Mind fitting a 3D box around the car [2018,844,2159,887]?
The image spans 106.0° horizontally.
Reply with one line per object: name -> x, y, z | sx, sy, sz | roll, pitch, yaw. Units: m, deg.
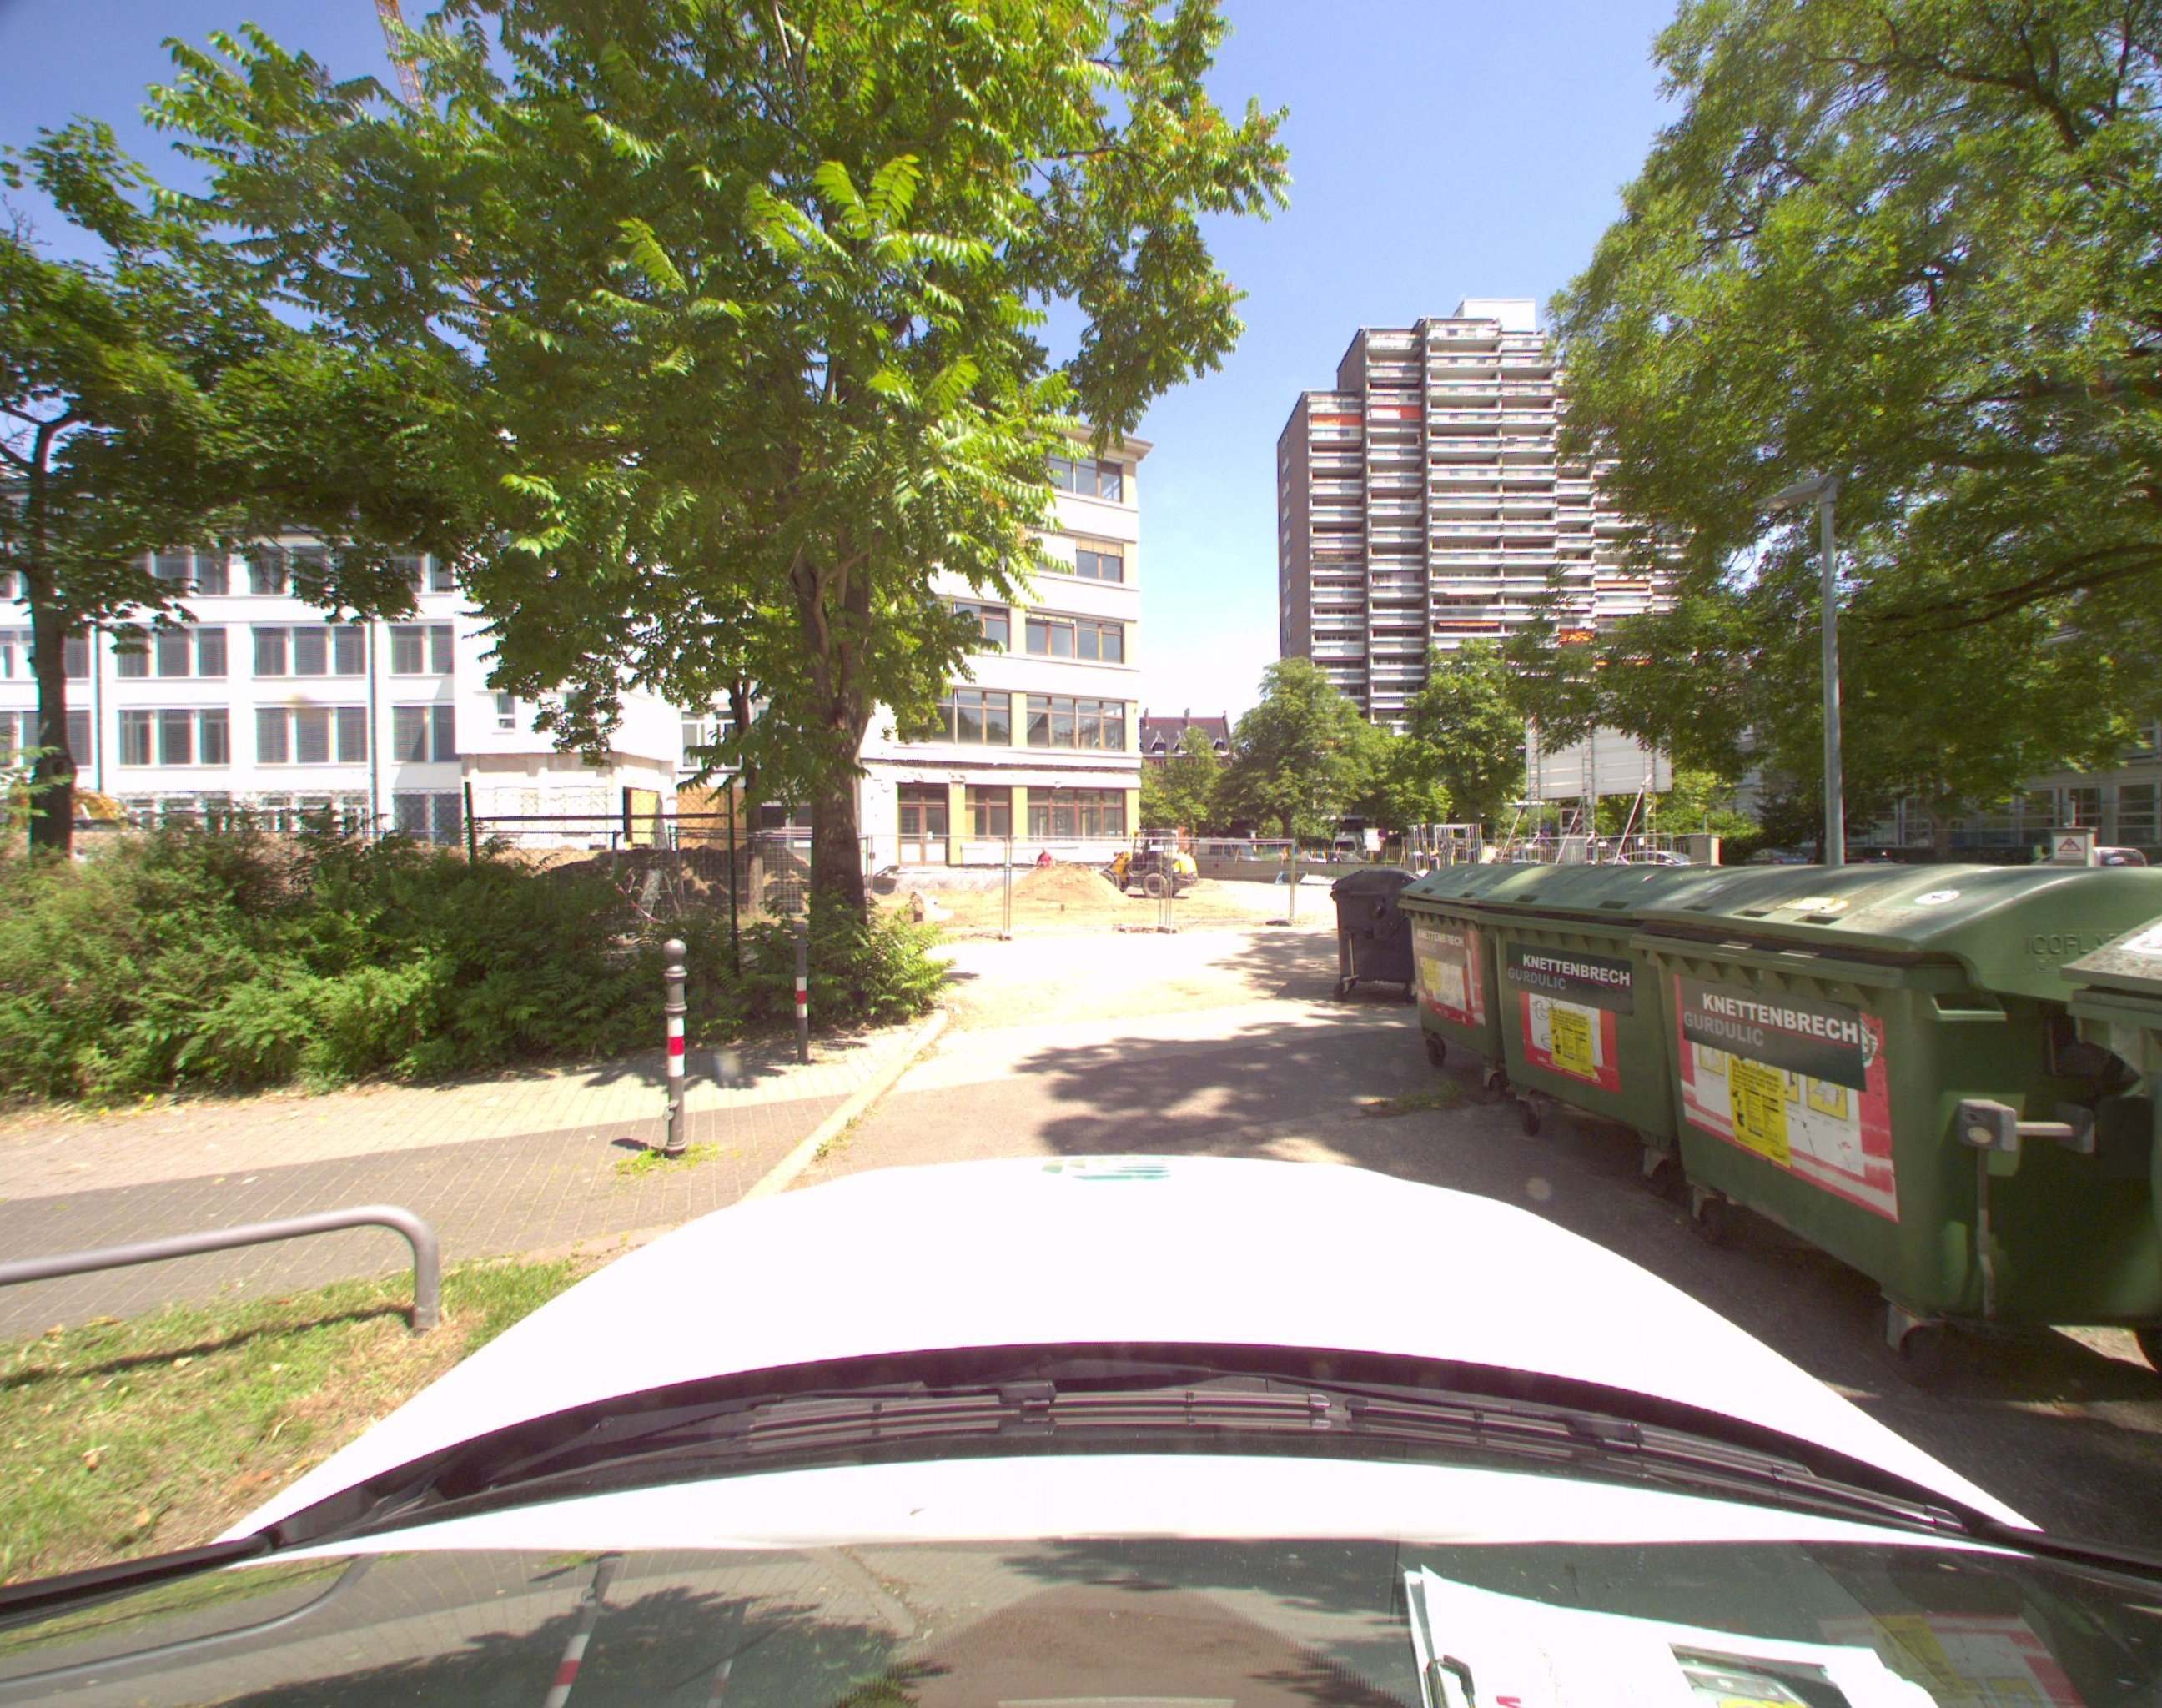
car -> 39.182, 0.430, 31.812 | 1.651, 1.589, 3.709 | -1, 0, 17

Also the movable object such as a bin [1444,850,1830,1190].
movable object such as a bin -> 2.705, 0.721, 4.207 | 1.071, 1.458, 1.378 | -1, 0, 3

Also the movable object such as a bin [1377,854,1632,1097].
movable object such as a bin -> 2.815, 0.740, 5.627 | 1.071, 1.458, 1.378 | -1, 0, 3

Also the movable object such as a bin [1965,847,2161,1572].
movable object such as a bin -> 2.685, 0.708, 1.290 | 1.071, 1.458, 1.378 | -1, 0, 3

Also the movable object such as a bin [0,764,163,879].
movable object such as a bin -> -40.370, -1.236, 32.436 | 5.677, 4.372, 2.003 | -1, -1, 5

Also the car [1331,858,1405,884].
car -> 15.355, 0.894, 43.575 | 3.734, 1.320, 1.600 | -1, 0, -28

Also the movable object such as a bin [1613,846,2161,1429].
movable object such as a bin -> 2.759, 0.713, 2.732 | 1.071, 1.458, 1.378 | -1, 0, 3

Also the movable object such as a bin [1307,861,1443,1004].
movable object such as a bin -> 3.234, 0.823, 9.126 | 1.071, 1.458, 1.378 | -1, 0, 3

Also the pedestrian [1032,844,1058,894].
pedestrian -> -1.376, 0.562, 31.067 | 0.913, 1.847, 0.984 | -1, -1, -7

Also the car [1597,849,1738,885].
car -> 24.867, 0.532, 34.739 | 1.677, 1.437, 4.645 | -1, 0, -27

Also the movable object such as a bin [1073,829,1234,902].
movable object such as a bin -> 2.649, 0.337, 29.888 | 5.353, 2.464, 2.382 | 1, 0, 26

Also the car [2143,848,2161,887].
car -> 40.352, 0.486, 28.796 | 1.650, 1.415, 3.730 | -1, 0, 21

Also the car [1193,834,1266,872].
car -> 9.796, -0.035, 54.261 | 2.004, 2.416, 5.197 | -1, 0, -27

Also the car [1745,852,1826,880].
car -> 34.536, 0.573, 40.051 | 1.897, 1.310, 3.952 | -1, 0, 23

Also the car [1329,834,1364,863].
car -> 21.550, -0.431, 65.958 | 2.165, 2.258, 4.896 | -1, 0, 23

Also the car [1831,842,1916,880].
car -> 36.285, 0.310, 37.411 | 1.992, 1.629, 3.955 | -1, 0, 32
